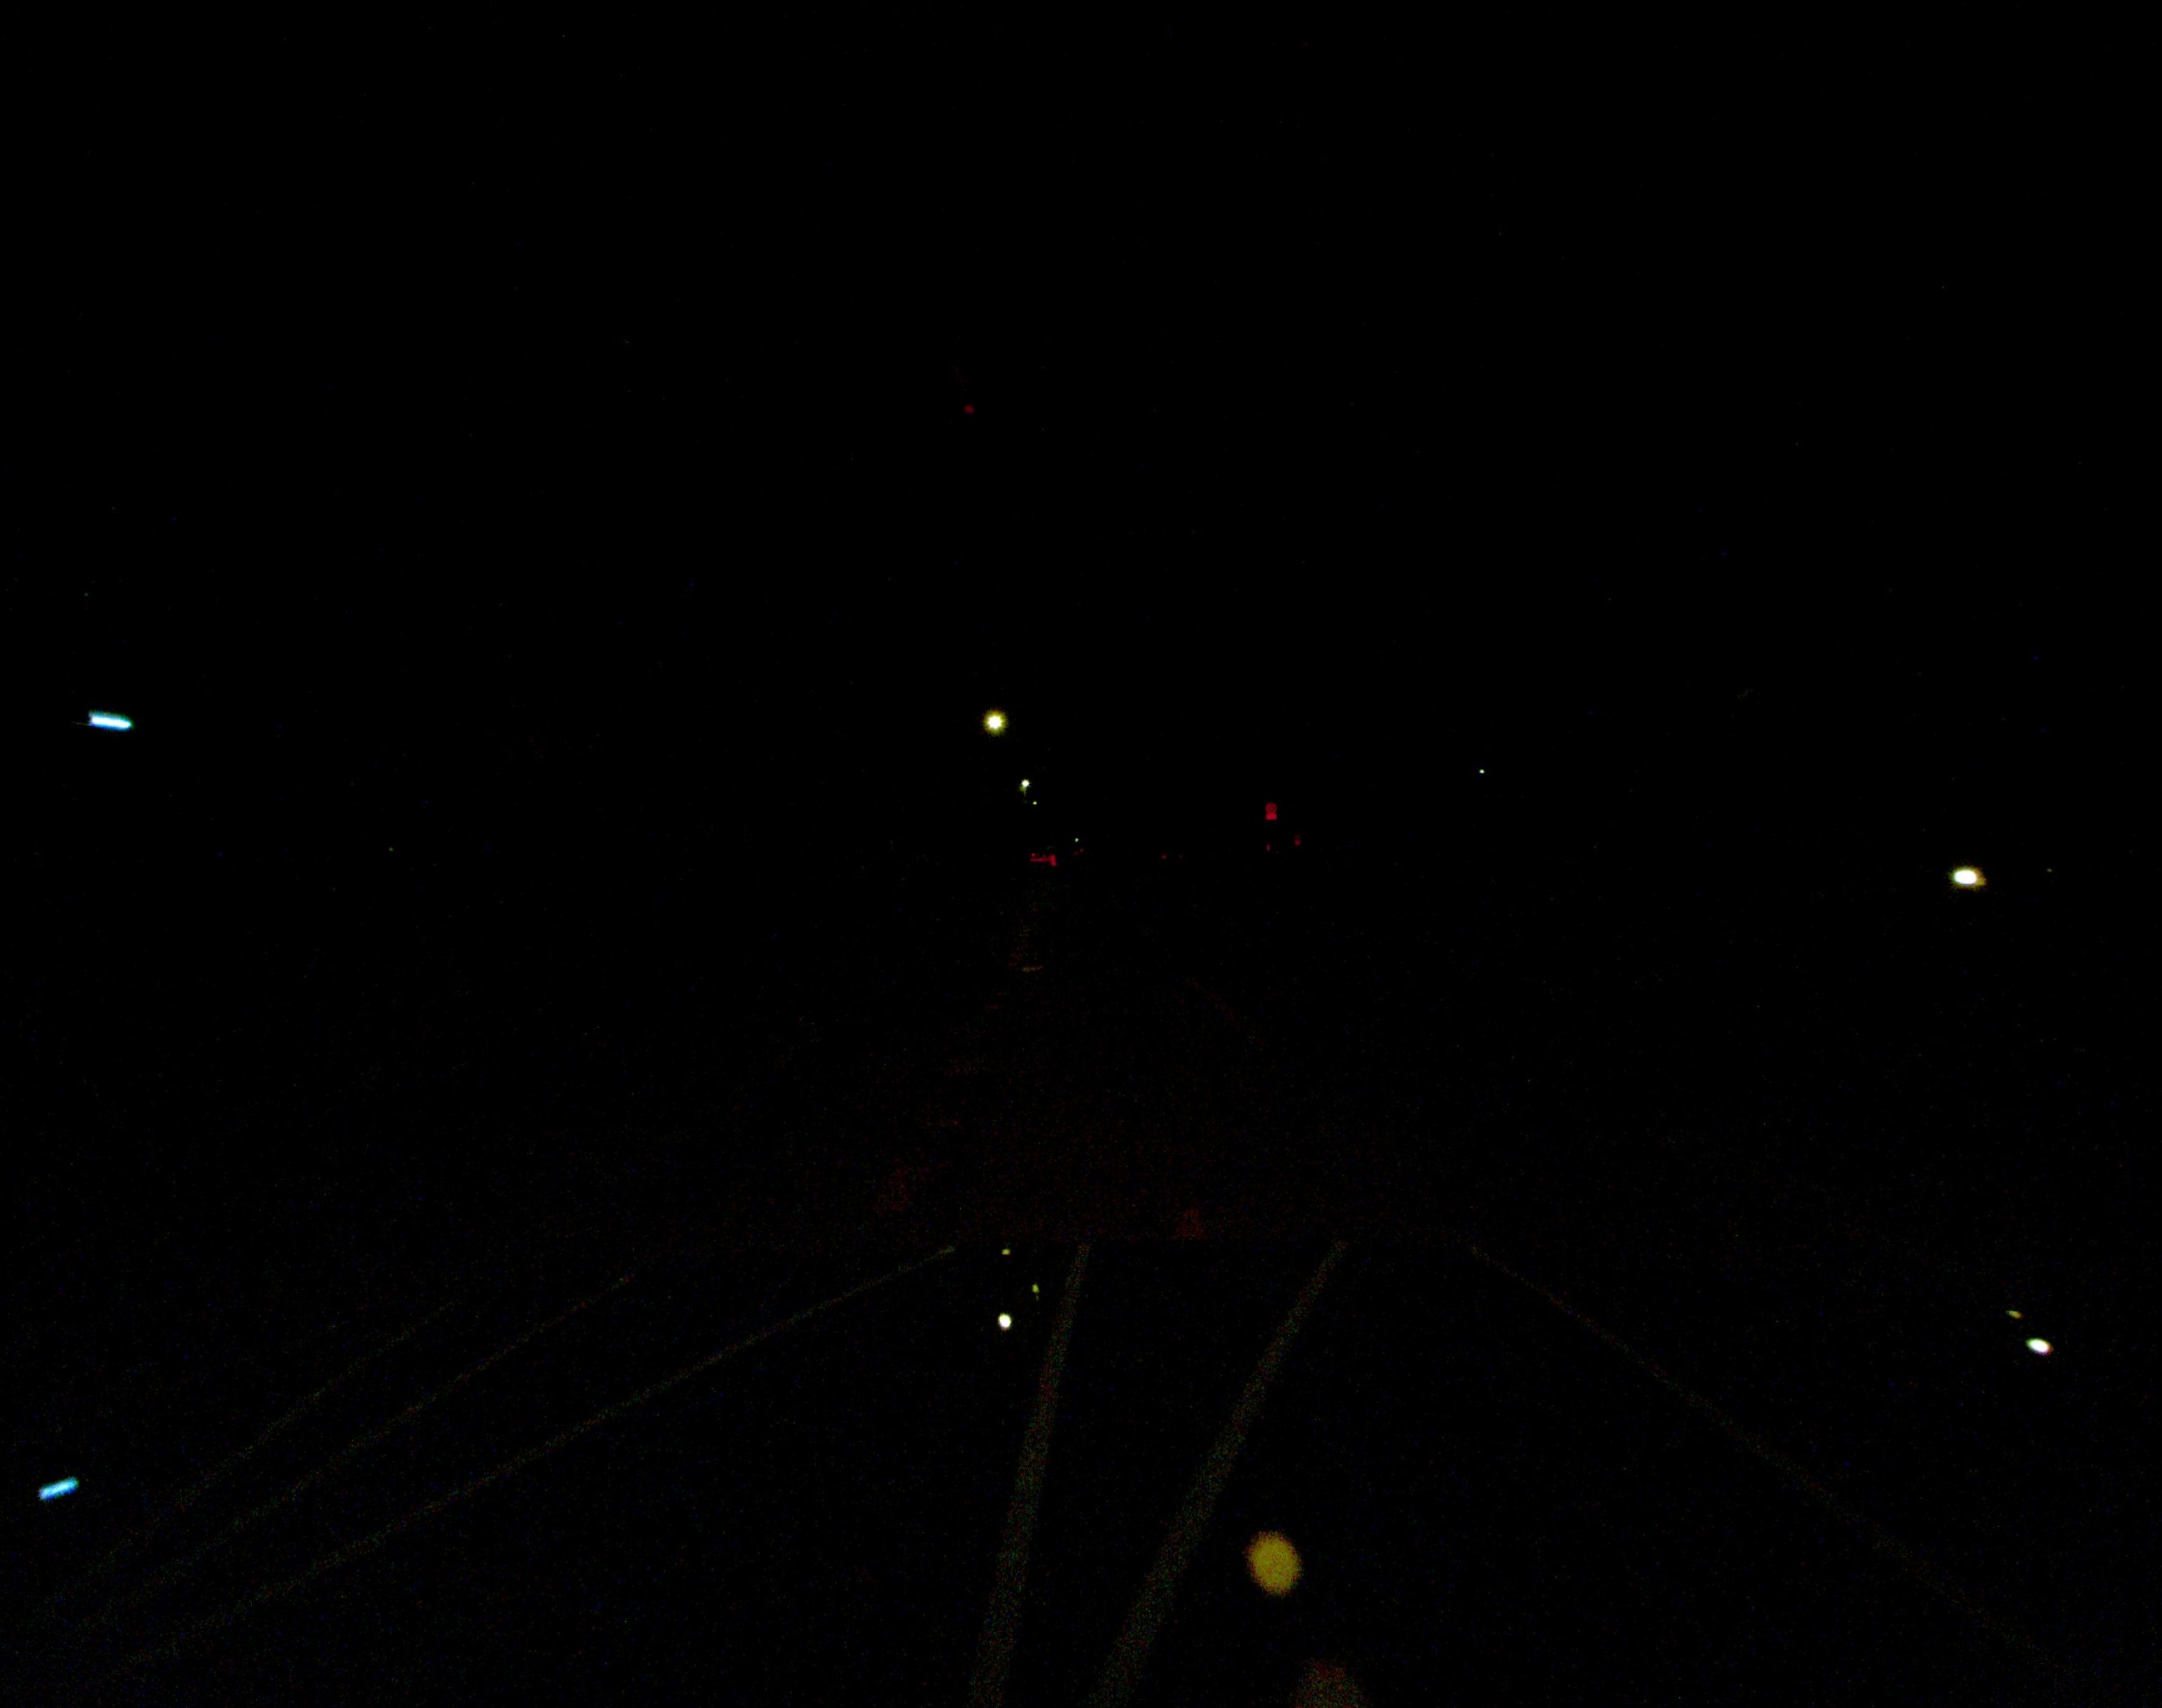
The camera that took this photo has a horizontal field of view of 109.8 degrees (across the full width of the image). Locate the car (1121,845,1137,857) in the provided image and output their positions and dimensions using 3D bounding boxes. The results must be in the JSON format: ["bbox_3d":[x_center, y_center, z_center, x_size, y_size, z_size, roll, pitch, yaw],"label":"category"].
[{"bbox_3d":[6.267,-0.402,100.428,1.863,1.484,4.080,-2,1,1],"label":"car"}]

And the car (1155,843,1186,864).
[{"bbox_3d":[7.134,-0.038,60.834,1.806,1.583,3.999,-2,1,-1],"label":"car"}]

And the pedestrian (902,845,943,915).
[{"bbox_3d":[-4.343,0.690,20.861,0.819,1.854,1.034,-2,1,1],"label":"pedestrian"}]

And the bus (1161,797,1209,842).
[{"bbox_3d":[17.478,-5.596,129.214,6.135,6.898,14.781,-2,1,1],"label":"bus"}]

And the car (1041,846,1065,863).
[{"bbox_3d":[-2.814,0.057,78.189,1.998,1.638,4.000,0,2,4],"label":"car"}]

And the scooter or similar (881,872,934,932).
[{"bbox_3d":[-3.655,0.997,16.058,0.468,1.195,1.137,-2,-1,24],"label":"scooter or similar"}]
